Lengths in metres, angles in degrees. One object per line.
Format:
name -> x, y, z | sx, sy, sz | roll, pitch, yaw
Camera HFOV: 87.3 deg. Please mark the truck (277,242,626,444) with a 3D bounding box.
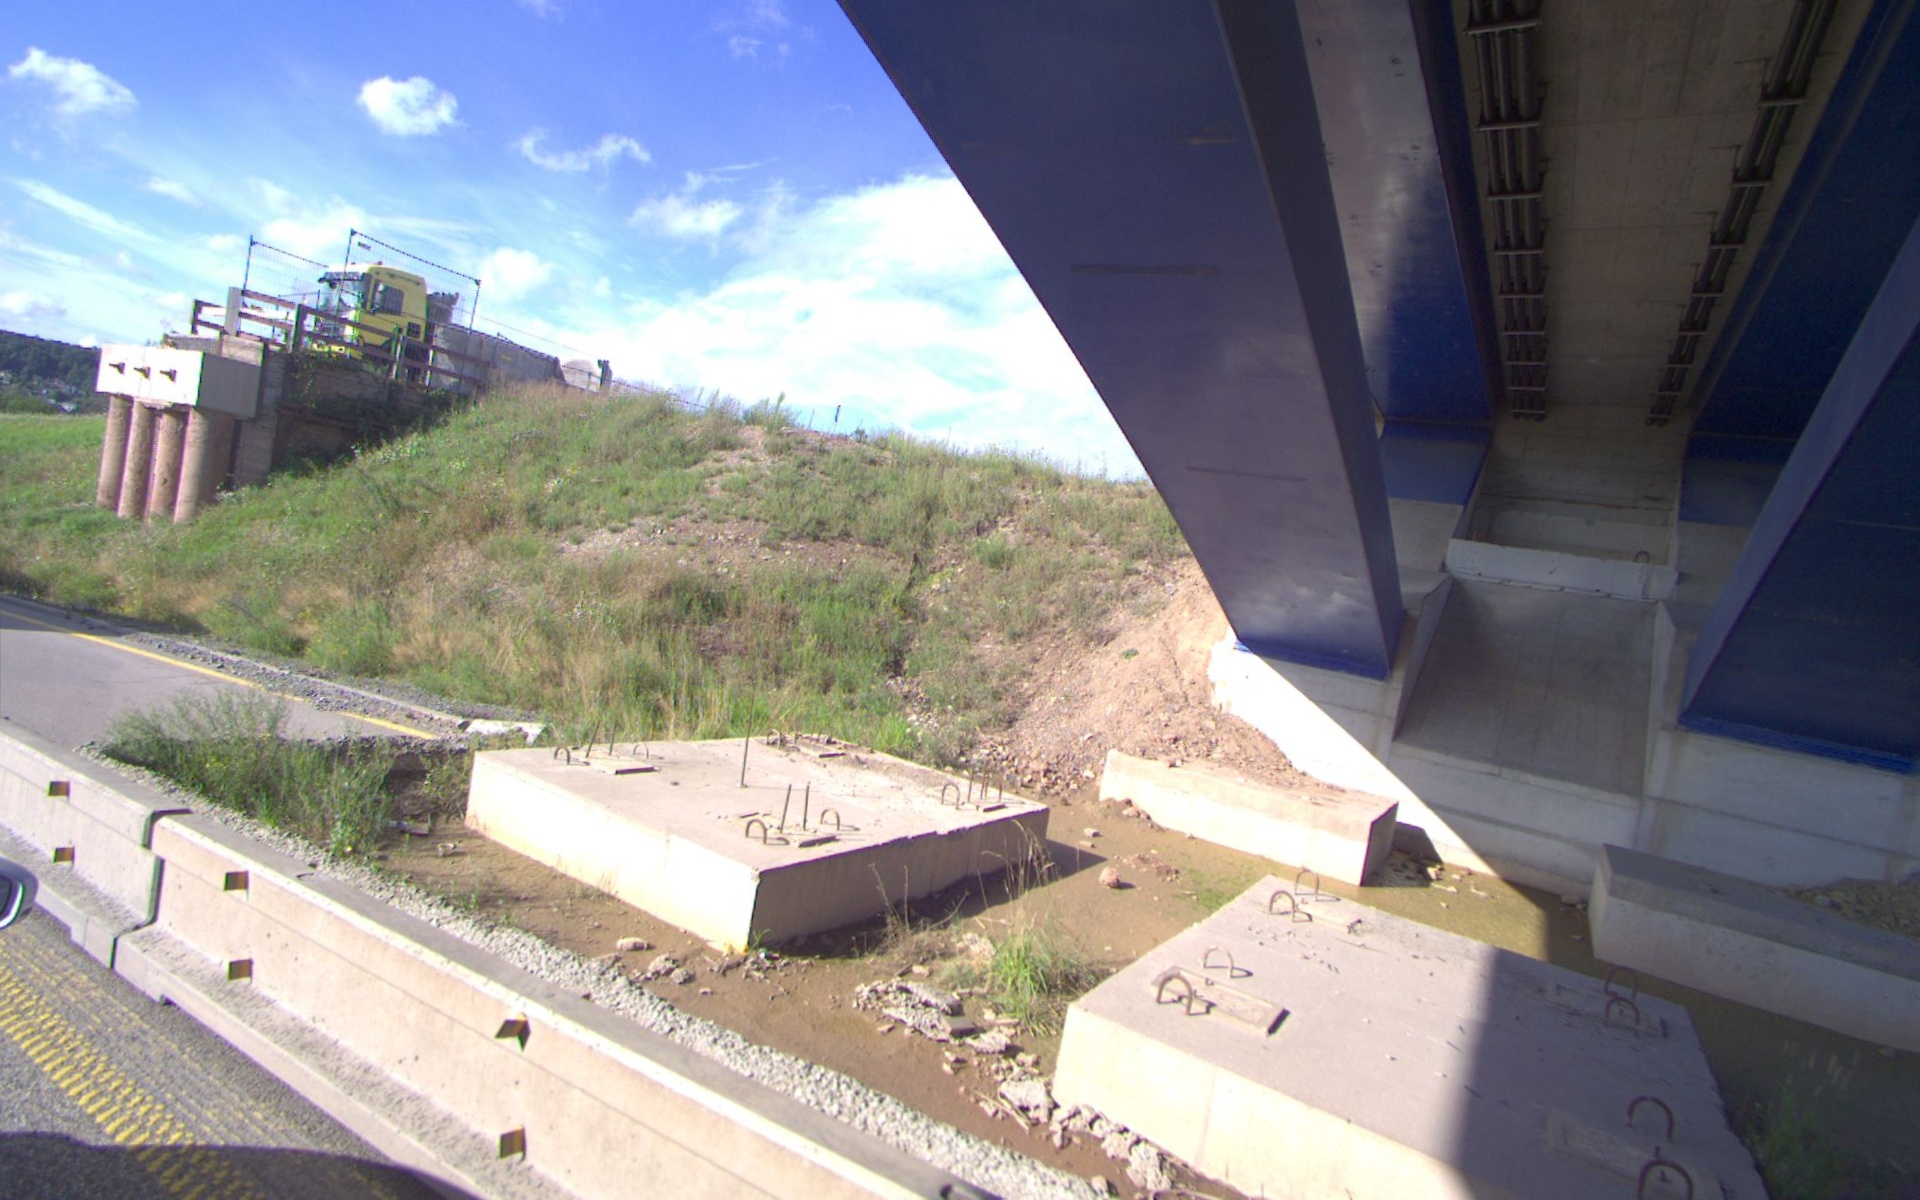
truck -> -15.192, -7.523, 31.143 | 2.910, 3.266, 9.280 | 7, -1, 31
